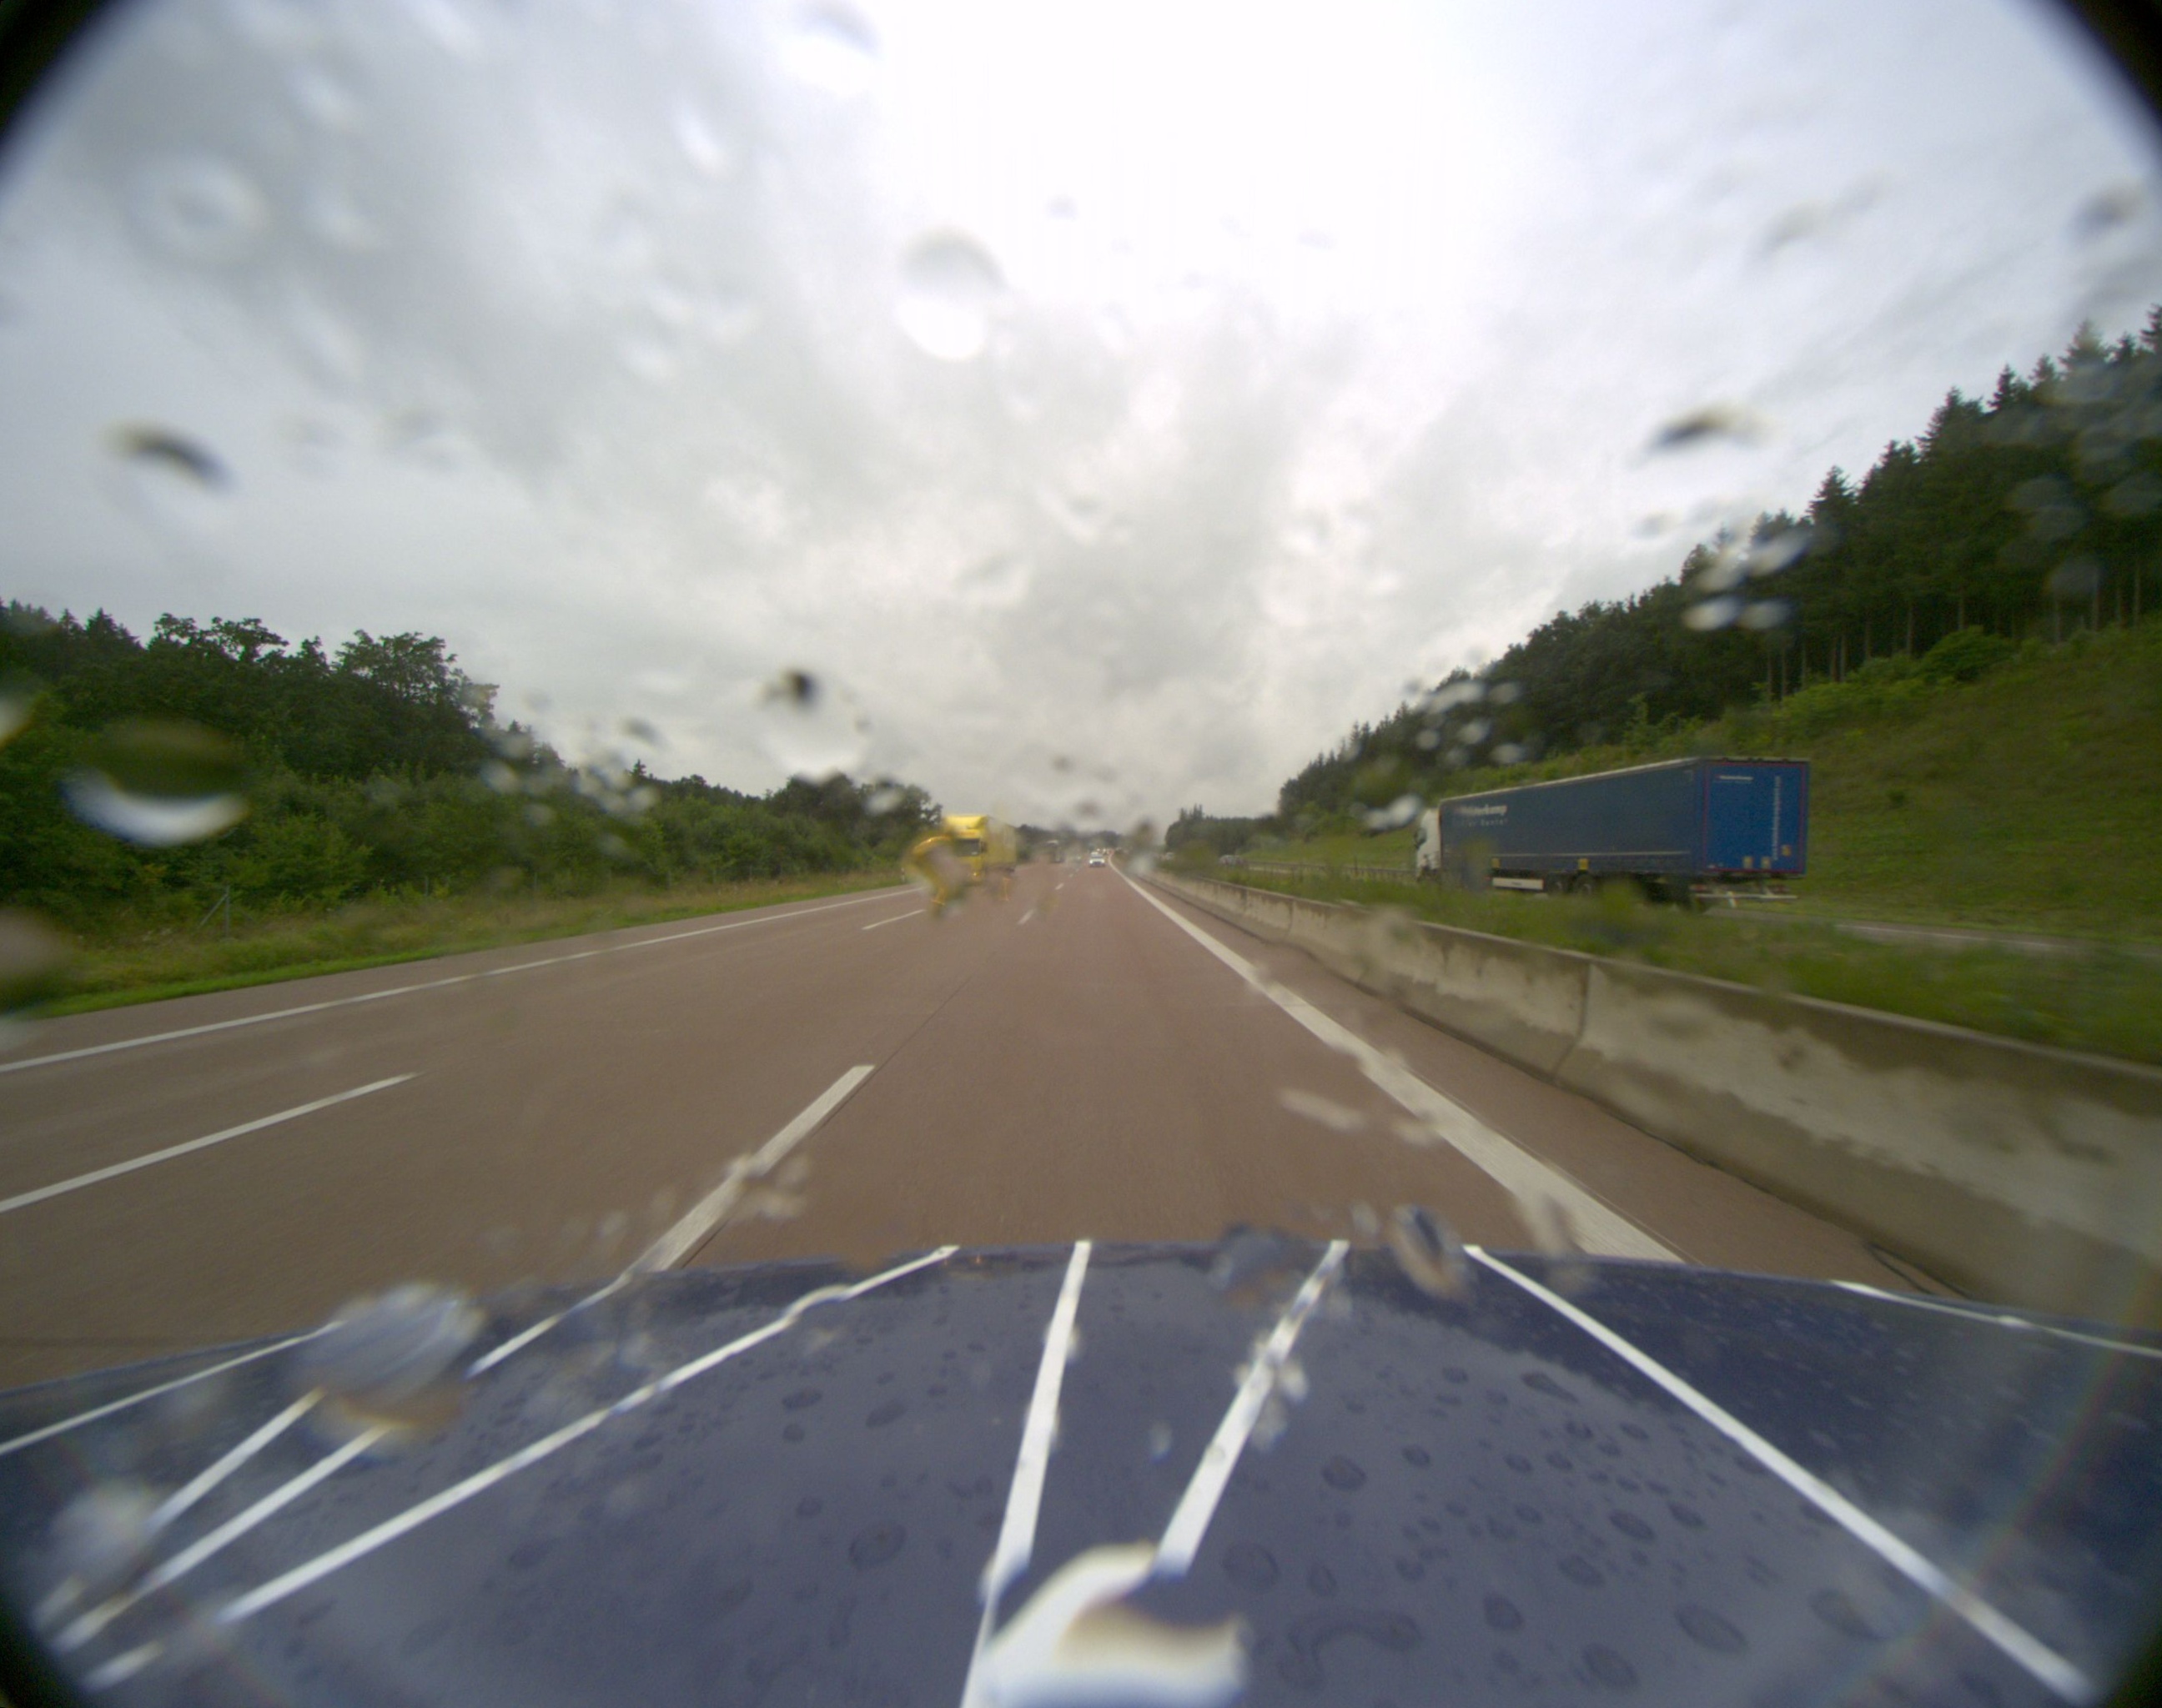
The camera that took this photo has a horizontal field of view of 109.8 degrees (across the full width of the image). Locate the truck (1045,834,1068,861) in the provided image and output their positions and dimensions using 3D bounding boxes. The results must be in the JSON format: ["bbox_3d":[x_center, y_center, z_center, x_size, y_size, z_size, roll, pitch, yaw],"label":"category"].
[{"bbox_3d":[-4.267,-1.246,135.847,3.190,4.349,14.703,-2,1,2],"label":"truck"}]

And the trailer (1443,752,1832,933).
[{"bbox_3d":[16.449,-0.373,24.842,2.926,4.314,13.578,0,1,1],"label":"trailer"}]

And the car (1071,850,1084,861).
[{"bbox_3d":[-0.514,0.250,126.491,1.998,1.623,4.931,-2,1,2],"label":"car"}]

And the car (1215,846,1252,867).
[{"bbox_3d":[13.622,0.179,68.249,2.053,1.683,6.383,-2,1,1],"label":"car"}]

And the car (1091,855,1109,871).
[{"bbox_3d":[2.182,1.042,88.023,1.998,1.623,4.931,-2,1,2],"label":"car"}]

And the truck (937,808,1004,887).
[{"bbox_3d":[-6.313,-0.420,44.242,2.610,4.190,6.249,-2,1,2],"label":"truck"}]

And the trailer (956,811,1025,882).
[{"bbox_3d":[-6.031,-0.572,53.262,2.571,4.204,14.079,-2,1,2],"label":"trailer"}]

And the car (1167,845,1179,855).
[{"bbox_3d":[17.429,-0.746,144.212,1.818,1.713,4.951,0,1,2],"label":"car"}]

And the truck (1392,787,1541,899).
[{"bbox_3d":[16.635,-0.478,33.509,2.931,4.365,7.402,-1,1,1],"label":"truck"}]
